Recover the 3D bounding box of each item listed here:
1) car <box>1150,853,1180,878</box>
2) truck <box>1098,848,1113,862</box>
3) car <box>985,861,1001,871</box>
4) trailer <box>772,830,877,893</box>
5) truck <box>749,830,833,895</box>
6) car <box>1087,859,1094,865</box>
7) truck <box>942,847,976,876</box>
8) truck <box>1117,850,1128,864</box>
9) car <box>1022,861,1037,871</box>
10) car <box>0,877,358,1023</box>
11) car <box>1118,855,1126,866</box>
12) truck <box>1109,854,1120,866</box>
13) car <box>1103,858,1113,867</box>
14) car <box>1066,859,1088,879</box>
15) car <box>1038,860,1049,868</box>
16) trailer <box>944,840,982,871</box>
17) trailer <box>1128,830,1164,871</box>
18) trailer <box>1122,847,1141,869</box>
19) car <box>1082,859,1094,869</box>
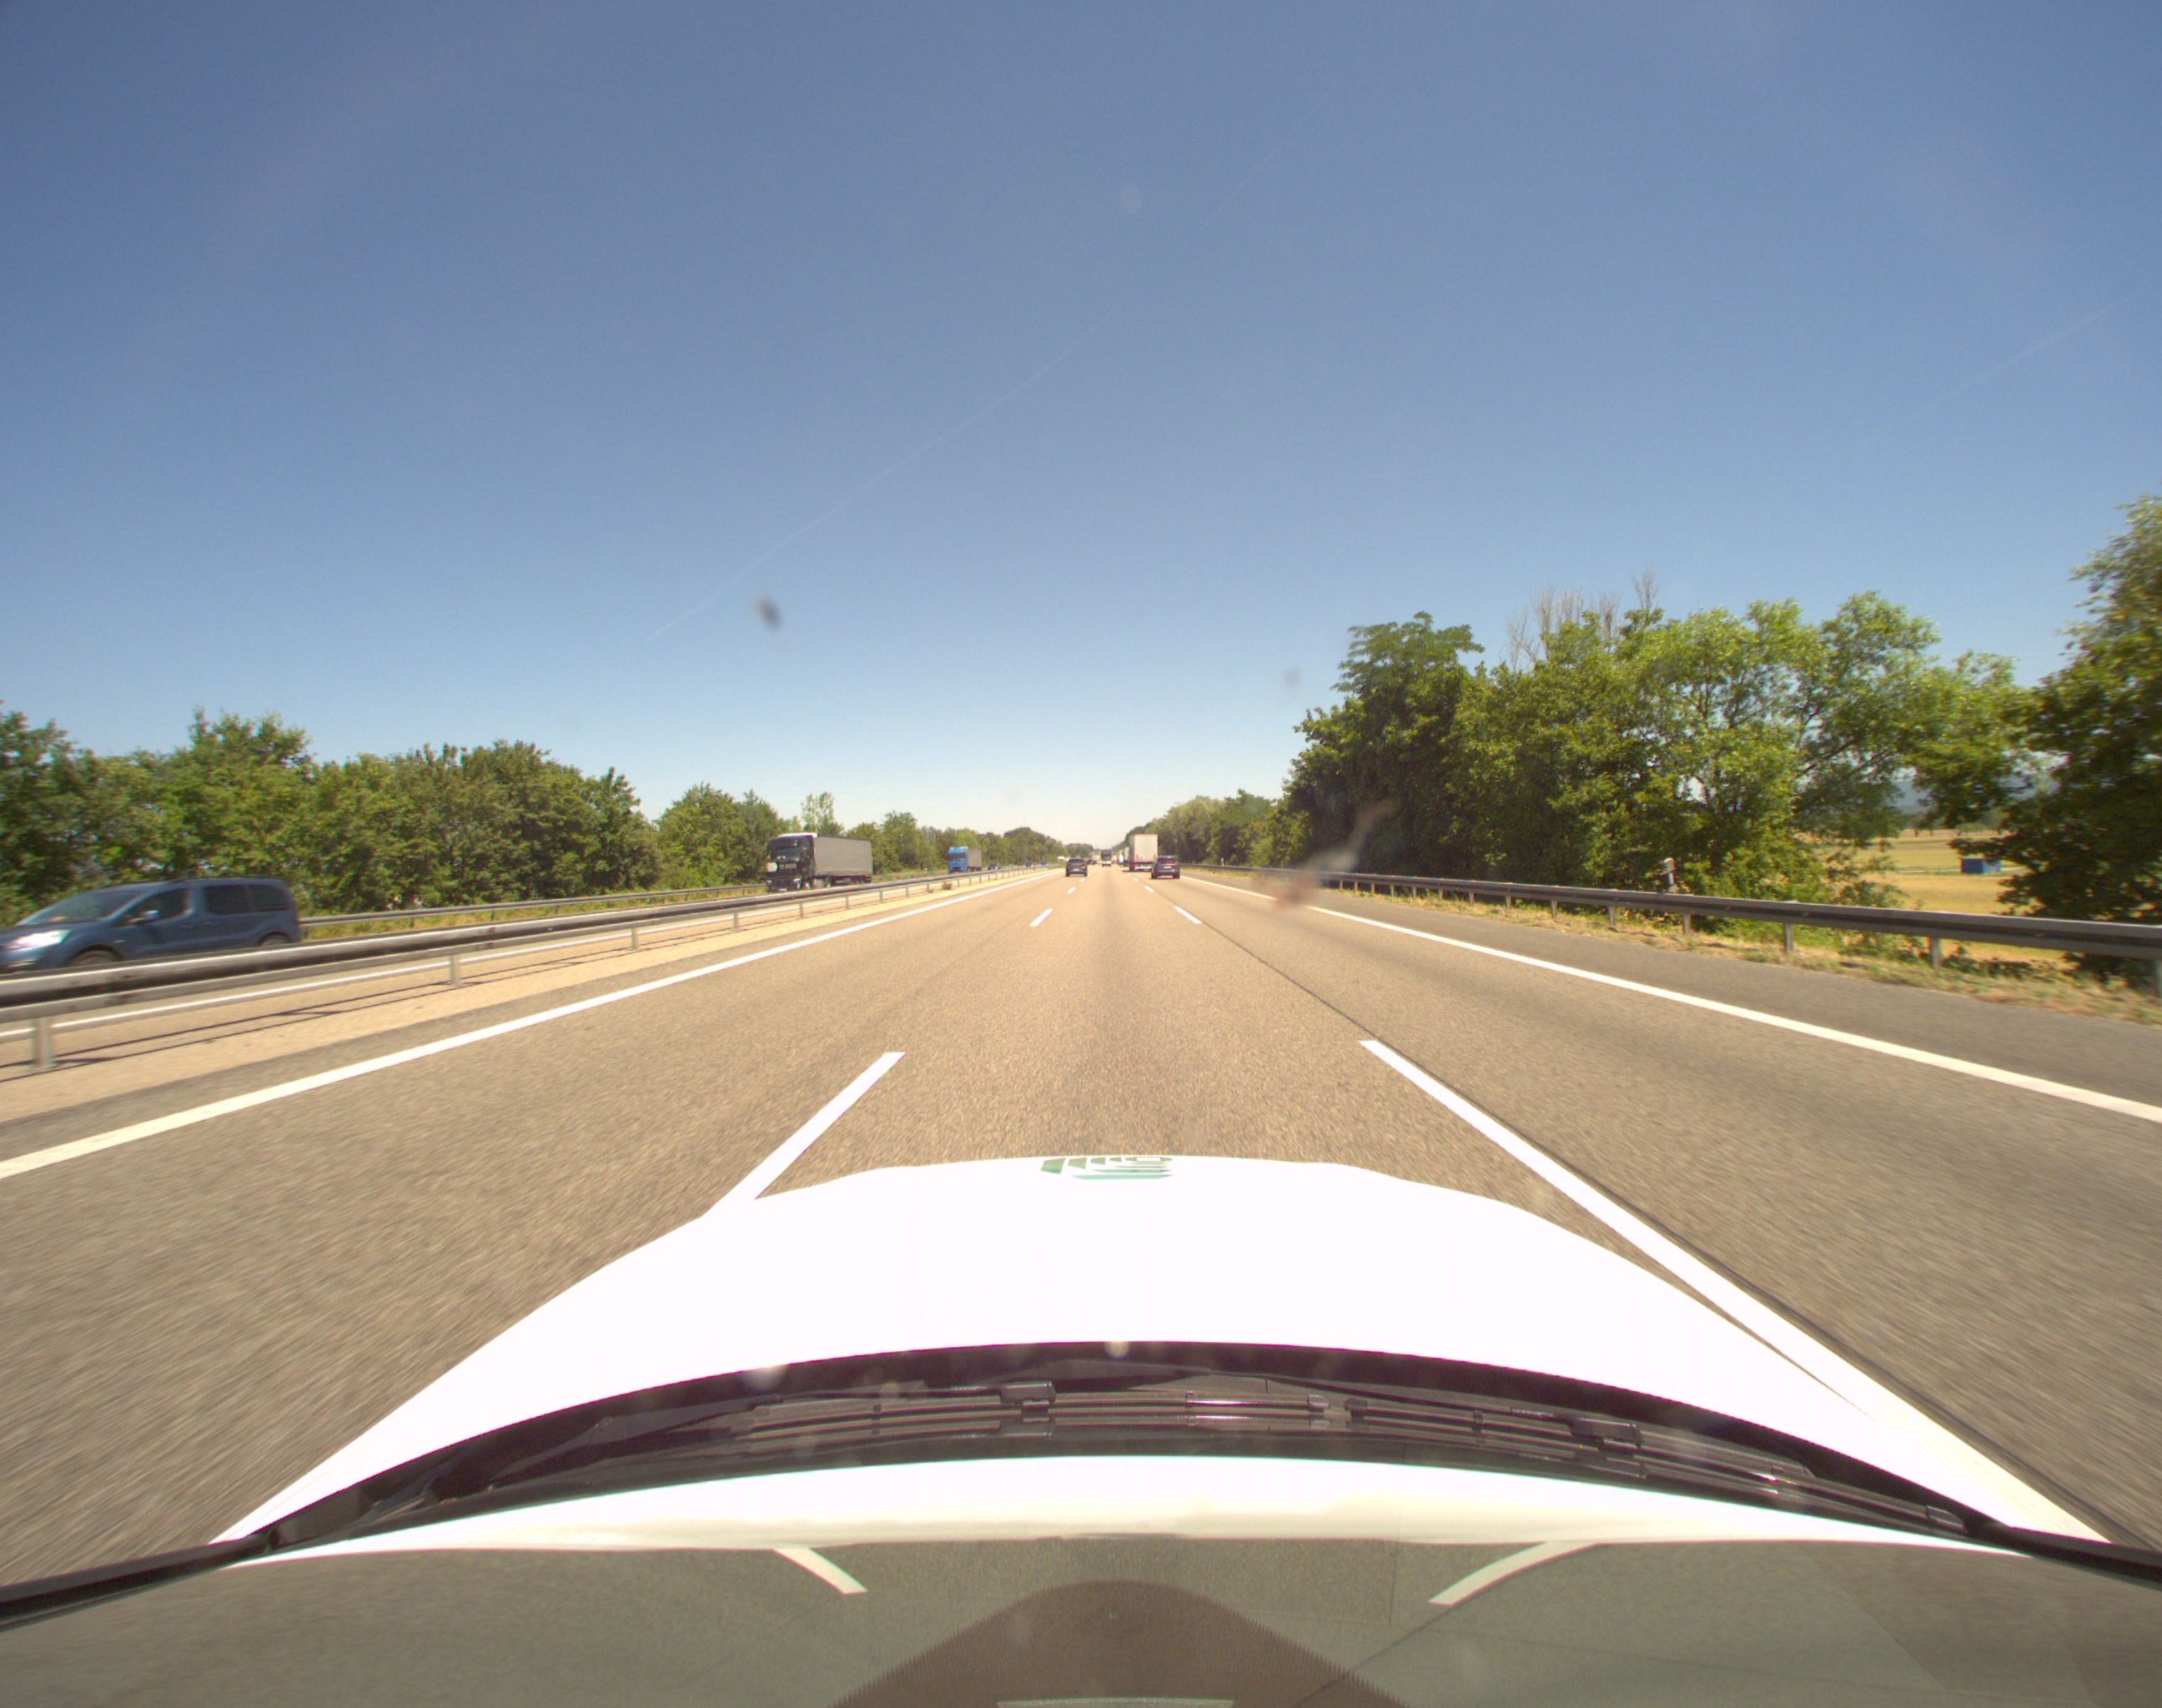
[{"bbox_3d":[5.942,0.785,57.902,1.838,1.629,4.137,-2,0,2],"label":"car"},{"bbox_3d":[6.622,0.177,216.971,3.652,3.725,7.114,-1,0,3],"label":"truck"},{"bbox_3d":[-13.202,1.755,122.619,1.843,1.463,4.315,1,0,1],"label":"car"},{"bbox_3d":[-19.332,0.481,62.670,3.337,4.186,13.544,-3,0,1],"label":"trailer"},{"bbox_3d":[-19.547,0.531,55.307,3.186,4.129,6.196,-2,0,2],"label":"truck"},{"bbox_3d":[2.581,2.132,216.774,1.900,1.531,4.287,0,0,2],"label":"car"},{"bbox_3d":[-17.636,0.970,118.011,3.240,3.986,8.730,-2,0,2],"label":"truck"},{"bbox_3d":[11.039,0.828,215.703,2.781,3.725,7.114,-1,0,3],"label":"truck"},{"bbox_3d":[-8.382,1.908,133.275,1.843,1.463,5.170,-4,-1,1],"label":"car"},{"bbox_3d":[-16.599,1.480,14.628,2.219,1.989,5.361,0,0,3],"label":"car"},{"bbox_3d":[9.596,1.533,191.197,1.900,2.425,4.287,0,0,2],"label":"car"},{"bbox_3d":[10.755,1.956,258.461,3.475,3.725,7.114,-1,0,3],"label":"truck"},{"bbox_3d":[5.169,1.582,154.620,1.893,1.531,4.086,0,0,2],"label":"car"},{"bbox_3d":[-0.315,1.248,69.097,1.752,1.531,4.287,0,0,2],"label":"car"},{"bbox_3d":[-7.495,2.068,164.525,1.843,1.395,4.743,-4,-1,1],"label":"car"},{"bbox_3d":[-17.647,0.172,123.028,3.285,4.186,13.544,-3,0,1],"label":"trailer"},{"bbox_3d":[7.056,-0.311,90.682,3.421,4.181,13.639,-1,-1,2],"label":"trailer"},{"bbox_3d":[9.245,0.741,150.669,3.111,3.926,9.938,-1,0,1],"label":"trailer"},{"bbox_3d":[1.144,1.651,134.162,1.893,1.531,4.086,0,0,2],"label":"car"}]
